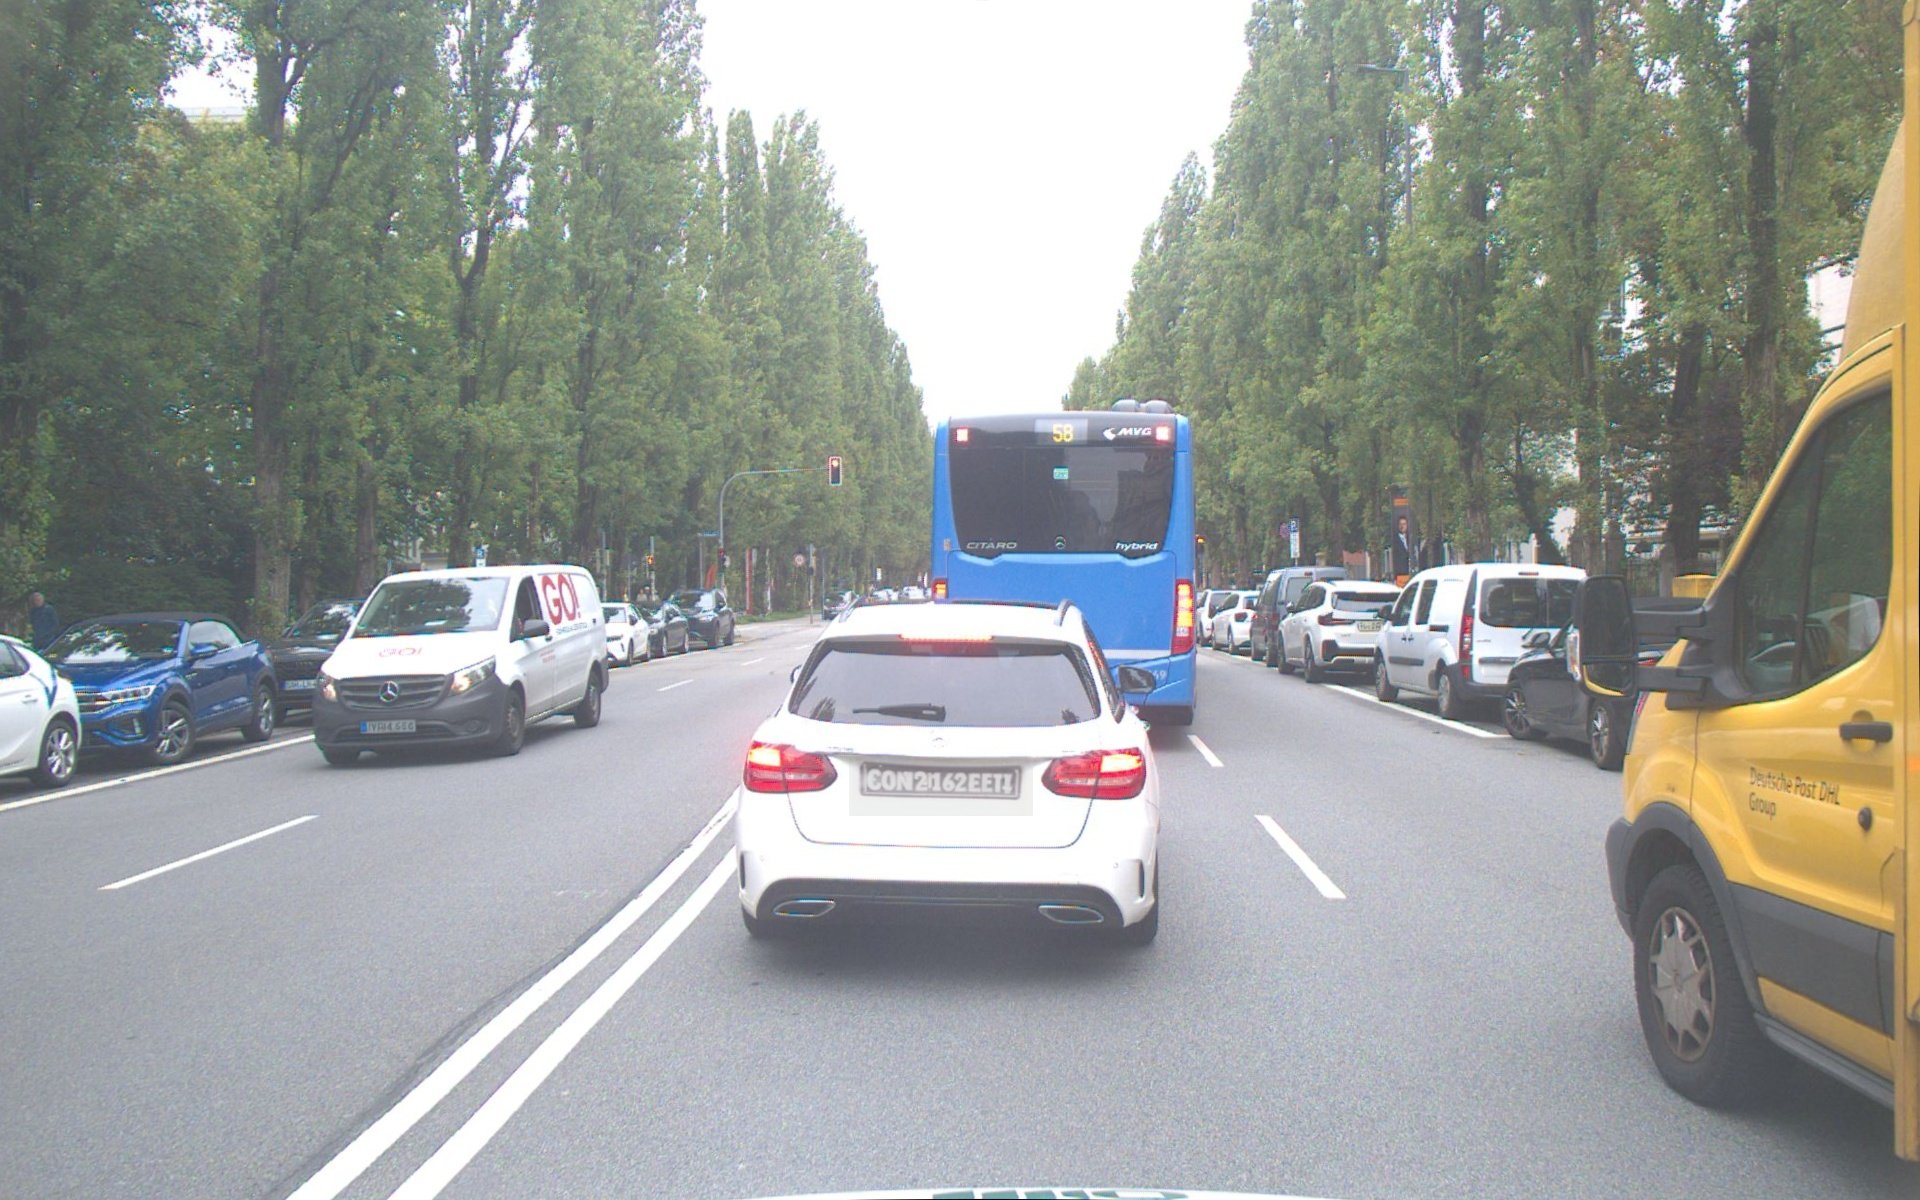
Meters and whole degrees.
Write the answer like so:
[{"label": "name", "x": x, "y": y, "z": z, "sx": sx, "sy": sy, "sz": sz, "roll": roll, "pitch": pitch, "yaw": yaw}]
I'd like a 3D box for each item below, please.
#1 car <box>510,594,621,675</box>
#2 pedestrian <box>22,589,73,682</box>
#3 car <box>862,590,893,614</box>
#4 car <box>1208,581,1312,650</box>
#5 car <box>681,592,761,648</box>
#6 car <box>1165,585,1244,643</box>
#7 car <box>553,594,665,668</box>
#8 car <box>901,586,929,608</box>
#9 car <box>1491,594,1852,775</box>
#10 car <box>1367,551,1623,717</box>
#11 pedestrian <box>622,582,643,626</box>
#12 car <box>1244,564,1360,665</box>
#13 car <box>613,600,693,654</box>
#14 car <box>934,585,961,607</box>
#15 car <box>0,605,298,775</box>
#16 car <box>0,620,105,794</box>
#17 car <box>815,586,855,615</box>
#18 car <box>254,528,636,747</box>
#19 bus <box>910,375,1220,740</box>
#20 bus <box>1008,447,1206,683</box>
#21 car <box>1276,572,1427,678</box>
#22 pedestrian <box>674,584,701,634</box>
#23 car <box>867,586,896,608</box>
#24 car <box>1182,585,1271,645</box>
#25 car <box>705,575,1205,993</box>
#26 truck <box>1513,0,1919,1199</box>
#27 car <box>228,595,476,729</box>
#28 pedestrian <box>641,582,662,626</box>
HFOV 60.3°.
[{"label": "car", "x": -8.225, "y": 0.689, "z": 34.724, "sx": 1.380, "sy": 1.579, "sz": 3.445, "roll": -1, "pitch": 0, "yaw": 2}, {"label": "pedestrian", "x": -17.678, "y": 0.679, "z": 32.038, "sx": 0.587, "sy": 1.769, "sz": 0.640, "roll": -1, "pitch": 0, "yaw": 2}, {"label": "car", "x": -5.468, "y": 0.112, "z": 110.356, "sx": 1.784, "sy": 1.512, "sz": 4.001, "roll": -1, "pitch": 1, "yaw": 1}, {"label": "car", "x": 7.036, "y": 0.327, "z": 39.134, "sx": 1.761, "sy": 1.501, "sz": 4.000, "roll": -1, "pitch": 1, "yaw": 0}, {"label": "car", "x": -7.142, "y": 0.568, "z": 49.772, "sx": 1.672, "sy": 1.579, "sz": 4.001, "roll": -1, "pitch": 0, "yaw": 2}, {"label": "car", "x": 7.261, "y": 0.381, "z": 49.440, "sx": 1.772, "sy": 1.646, "sz": 4.000, "roll": -1, "pitch": 1, "yaw": 0}, {"label": "car", "x": -8.127, "y": 0.674, "z": 38.589, "sx": 1.673, "sy": 1.575, "sz": 4.000, "roll": -1, "pitch": 0, "yaw": 1}, {"label": "car", "x": -3.132, "y": -0.215, "z": 116.488, "sx": 1.784, "sy": 1.512, "sz": 4.001, "roll": -1, "pitch": 1, "yaw": 1}, {"label": "car", "x": 6.208, "y": 0.657, "z": 14.947, "sx": 1.710, "sy": 1.378, "sz": 4.002, "roll": 0, "pitch": 1, "yaw": 3}, {"label": "car", "x": 6.442, "y": 0.359, "z": 20.433, "sx": 1.795, "sy": 1.804, "sz": 4.230, "roll": 1, "pitch": 0, "yaw": 0}, {"label": "pedestrian", "x": -15.591, "y": 0.192, "z": 78.685, "sx": 0.813, "sy": 2.049, "sz": 0.778, "roll": -1, "pitch": 0, "yaw": -1}, {"label": "car", "x": 6.724, "y": 0.253, "z": 32.841, "sx": 1.668, "sy": 1.868, "sz": 4.002, "roll": 1, "pitch": 1, "yaw": 3}, {"label": "car", "x": -8.148, "y": 0.692, "z": 44.192, "sx": 1.262, "sy": 1.296, "sz": 3.850, "roll": -1, "pitch": 1, "yaw": 2}, {"label": "car", "x": -0.953, "y": -0.312, "z": 129.865, "sx": 1.952, "sy": 1.647, "sz": 4.001, "roll": -1, "pitch": 0, "yaw": 1}, {"label": "car", "x": -8.845, "y": 0.881, "z": 18.107, "sx": 1.709, "sy": 1.545, "sz": 4.115, "roll": -3, "pitch": 0, "yaw": -4}, {"label": "car", "x": -8.957, "y": 0.961, "z": 13.633, "sx": 1.650, "sy": 1.437, "sz": 4.005, "roll": -3, "pitch": 0, "yaw": 1}, {"label": "car", "x": -6.854, "y": 0.007, "z": 90.976, "sx": 1.784, "sy": 1.512, "sz": 4.001, "roll": -1, "pitch": 1, "yaw": 1}, {"label": "car", "x": -5.318, "y": 0.326, "z": 18.126, "sx": 2.137, "sy": 1.924, "sz": 5.698, "roll": -3, "pitch": 0, "yaw": 2}, {"label": "bus", "x": 1.532, "y": -0.428, "z": 19.490, "sx": 2.795, "sy": 3.269, "sz": 9.067, "roll": 0, "pitch": 1, "yaw": 8}, {"label": "bus", "x": 2.715, "y": -0.541, "z": 28.675, "sx": 2.811, "sy": 3.361, "sz": 9.797, "roll": -1, "pitch": 0, "yaw": 7}, {"label": "car", "x": 6.434, "y": 0.362, "z": 27.578, "sx": 1.642, "sy": 1.624, "sz": 4.088, "roll": 1, "pitch": 1, "yaw": 2}, {"label": "pedestrian", "x": -10.023, "y": 0.314, "z": 60.893, "sx": 0.805, "sy": 1.795, "sz": 1.081, "roll": -1, "pitch": 0, "yaw": -1}, {"label": "car", "x": -5.655, "y": -0.210, "z": 119.253, "sx": 1.784, "sy": 1.512, "sz": 4.001, "roll": -1, "pitch": 1, "yaw": 1}, {"label": "car", "x": 7.081, "y": 0.363, "z": 44.279, "sx": 1.749, "sy": 1.518, "sz": 4.000, "roll": -1, "pitch": 1, "yaw": 1}, {"label": "car", "x": 0.124, "y": 0.639, "z": 8.208, "sx": 1.787, "sy": 1.480, "sz": 4.585, "roll": 0, "pitch": 0, "yaw": 4}, {"label": "truck", "x": 3.191, "y": -0.043, "z": 2.478, "sx": 2.280, "sy": 2.948, "sz": 7.333, "roll": -1, "pitch": 0, "yaw": 0}, {"label": "car", "x": -8.386, "y": 0.788, "z": 23.263, "sx": 1.754, "sy": 1.574, "sz": 4.339, "roll": -4, "pitch": 0, "yaw": 1}, {"label": "pedestrian", "x": -14.722, "y": 0.185, "z": 78.860, "sx": 0.813, "sy": 2.049, "sz": 0.778, "roll": -1, "pitch": 0, "yaw": -1}]
